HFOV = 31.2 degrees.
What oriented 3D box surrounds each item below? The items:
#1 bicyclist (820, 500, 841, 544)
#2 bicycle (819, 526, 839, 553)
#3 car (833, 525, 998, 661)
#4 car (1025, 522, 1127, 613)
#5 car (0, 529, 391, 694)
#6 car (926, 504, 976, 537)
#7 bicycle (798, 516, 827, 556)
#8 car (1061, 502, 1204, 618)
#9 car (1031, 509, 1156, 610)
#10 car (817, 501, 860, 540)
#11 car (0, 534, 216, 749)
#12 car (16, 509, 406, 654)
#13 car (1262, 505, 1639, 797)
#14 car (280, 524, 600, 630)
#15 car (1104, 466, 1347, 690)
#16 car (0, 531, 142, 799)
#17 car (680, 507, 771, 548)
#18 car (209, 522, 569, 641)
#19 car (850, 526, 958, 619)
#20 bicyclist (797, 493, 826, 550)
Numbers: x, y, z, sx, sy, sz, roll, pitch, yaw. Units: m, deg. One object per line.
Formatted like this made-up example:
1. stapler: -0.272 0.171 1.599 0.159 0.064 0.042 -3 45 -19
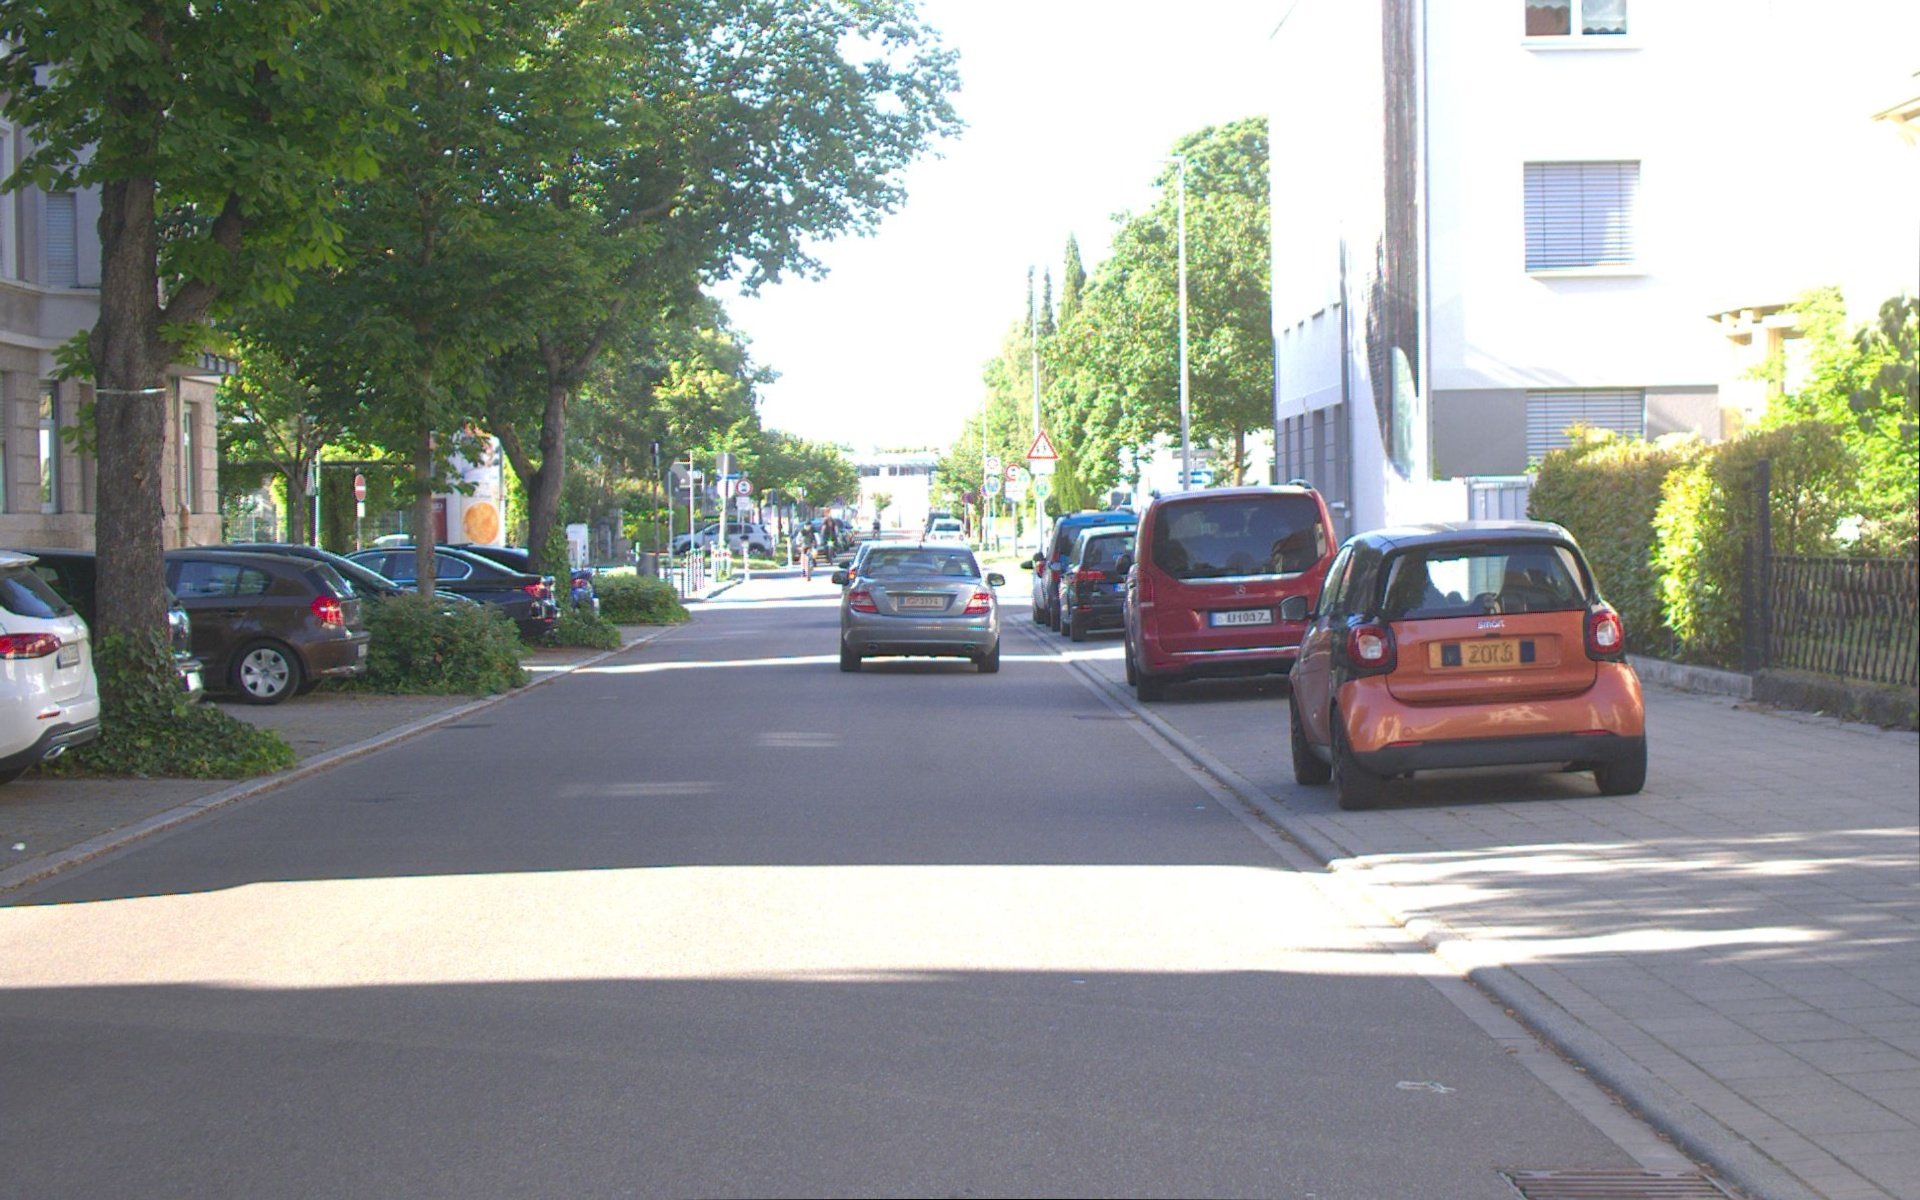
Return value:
1. bicyclist: -4.501 -2.702 119.236 0.680 1.504 0.655 0 1 1
2. bicycle: -4.538 -2.099 119.298 0.589 0.928 1.850 0 1 0
3. car: -0.470 -0.078 38.915 1.726 1.415 3.960 2 0 0
4. car: 1.966 -0.542 59.224 1.564 1.406 3.729 -4 0 0
5. car: -7.556 0.089 32.769 3.986 1.416 1.771 1 2 -1
6. car: -0.383 -3.347 143.905 1.722 1.325 4.001 -2 2 -5
7. bicycle: -4.060 -1.772 94.575 0.719 1.075 1.891 -1 1 0
8. car: 2.404 -0.600 48.811 1.737 1.526 4.179 -1 2 -1
9. car: 2.084 -0.618 54.770 1.682 1.430 4.266 -4 0 -1
10. car: -5.854 -3.807 164.931 1.787 1.527 4.000 -3 -2 -5
11. car: -7.383 0.245 24.305 4.021 1.439 1.800 2 0 -9
12. car: -8.508 -0.204 39.365 4.171 1.495 2.000 2 0 -8
13. car: 2.728 0.236 19.738 1.592 1.475 3.247 -2 1 -1
14. car: -7.628 -0.338 50.728 4.473 1.474 1.869 1 0 -2
15. car: 2.408 -0.217 32.374 1.871 1.898 5.197 -1 1 0
16. car: -7.052 0.303 20.262 4.022 1.479 1.807 2 1 -1
17. car: -9.305 -2.875 136.260 3.493 1.528 1.645 -2 2 -7
18. car: -7.493 -0.247 45.433 4.473 1.474 1.869 1 0 -2
19. car: -0.962 -0.453 57.787 1.707 1.443 4.203 2 0 -1
20. bicyclist: -4.088 -2.157 94.666 0.721 1.531 1.137 -1 1 -1
